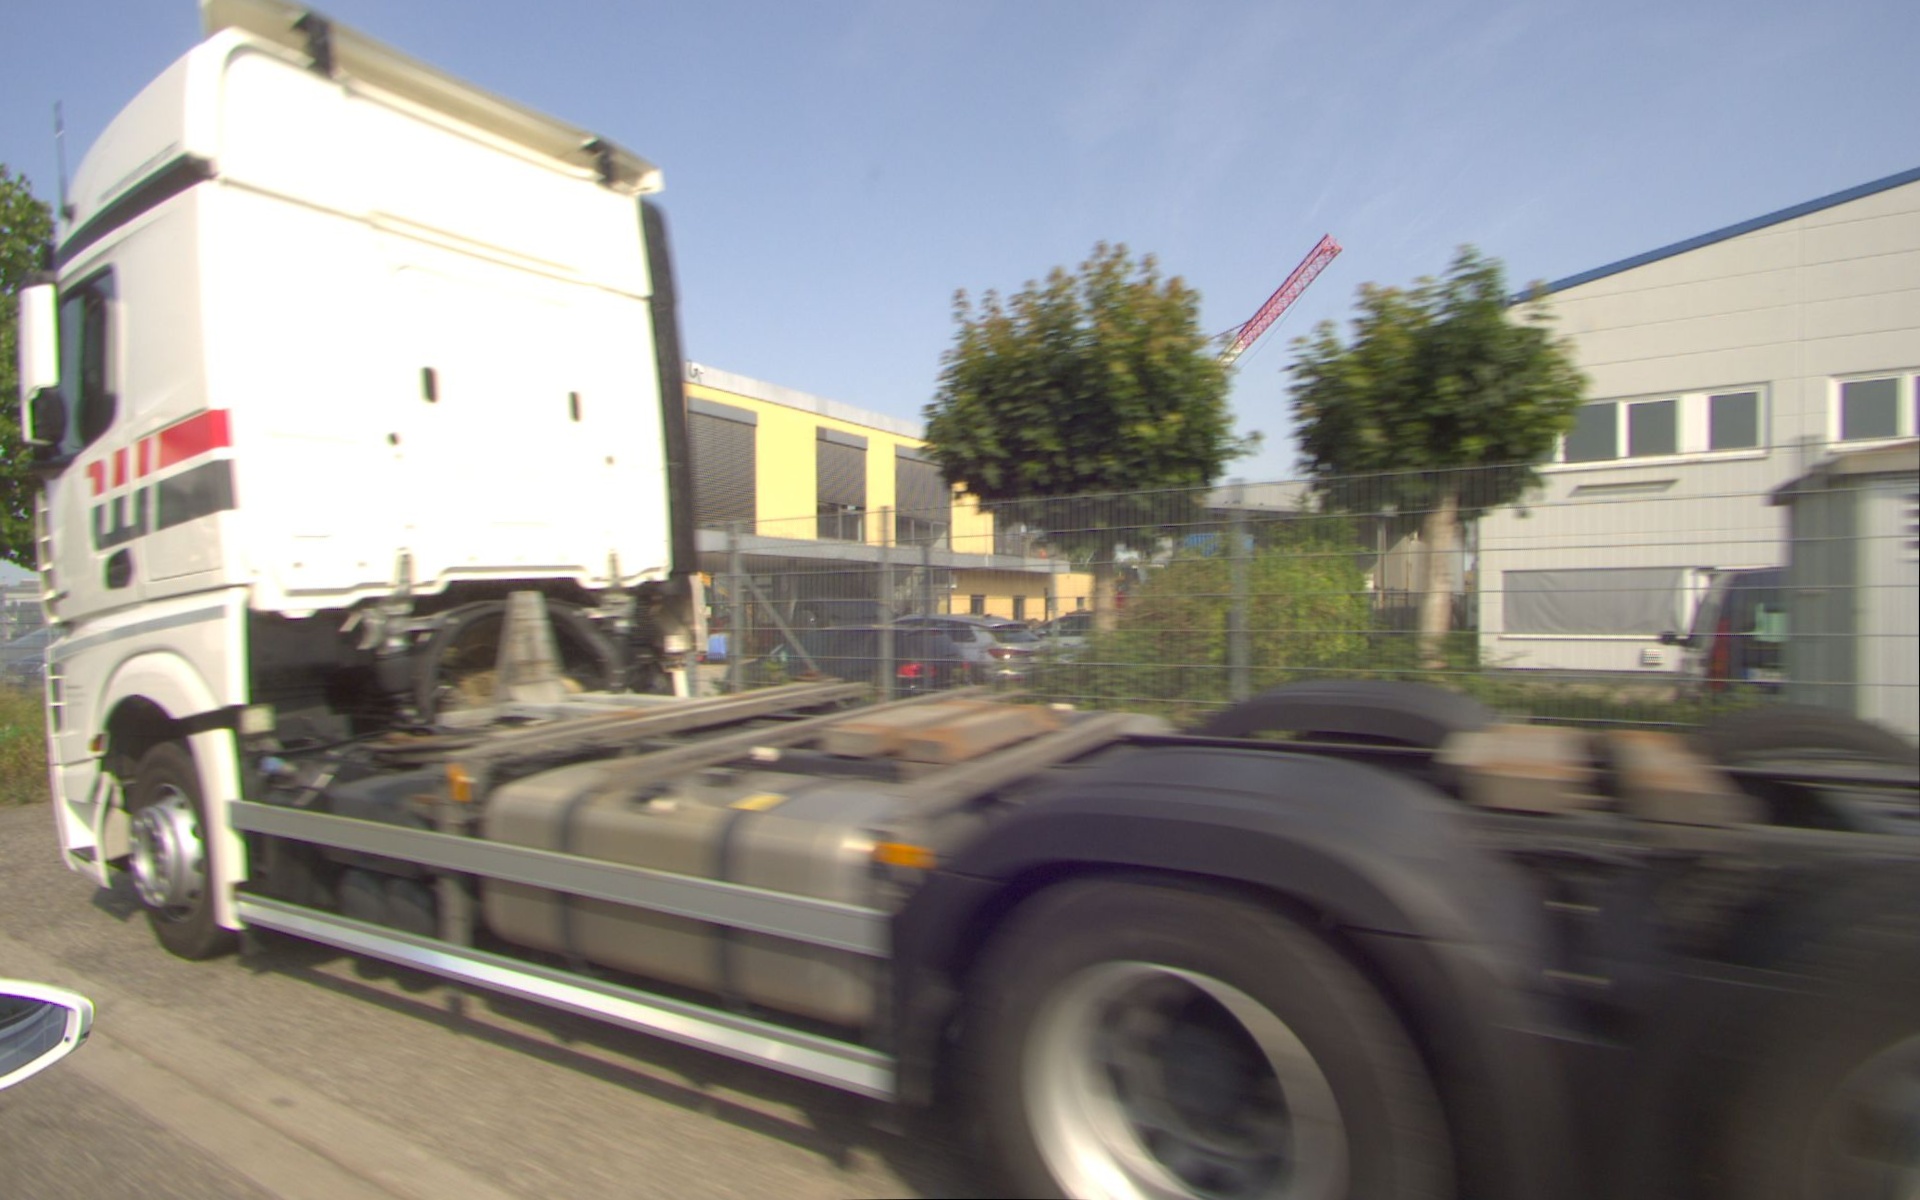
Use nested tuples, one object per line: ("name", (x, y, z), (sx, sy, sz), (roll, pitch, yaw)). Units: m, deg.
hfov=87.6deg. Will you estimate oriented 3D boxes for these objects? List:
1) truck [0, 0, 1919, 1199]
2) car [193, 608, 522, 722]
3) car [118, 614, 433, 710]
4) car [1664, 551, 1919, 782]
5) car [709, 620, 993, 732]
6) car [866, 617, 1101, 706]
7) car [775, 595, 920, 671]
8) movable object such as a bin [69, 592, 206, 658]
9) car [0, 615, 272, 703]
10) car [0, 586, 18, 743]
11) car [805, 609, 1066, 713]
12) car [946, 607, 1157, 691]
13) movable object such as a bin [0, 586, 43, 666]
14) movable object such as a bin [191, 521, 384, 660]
("truck", (-0.065, -0.613, 3.574), (9.547, 4.070, 2.739), (0, 2, 32))
("car", (-8.995, 0.933, 15.321), (1.763, 1.496, 3.986), (0, -2, 27))
("car", (-11.230, 0.986, 16.732), (1.763, 1.388, 3.986), (0, -2, 28))
("car", (8.389, 0.566, 10.043), (1.884, 1.858, 4.083), (0, -1, 31))
("car", (-1.668, 1.032, 14.908), (3.945, 1.450, 1.880), (-1, -1, 34))
("car", (0.447, 1.133, 19.849), (4.302, 1.577, 1.888), (0, -1, 28))
("car", (-3.184, 0.913, 29.152), (1.869, 2.028, 4.347), (0, -1, 33))
("movable object such as a bin", (-33.688, 1.013, 41.012), (5.264, 2.524, 2.916), (-1, 0, 33))
("car", (-16.522, 1.079, 19.997), (1.870, 1.515, 4.221), (0, 0, 29))
("car", (-13.399, 0.795, 12.104), (4.537, 1.812, 1.989), (-2, -1, 34))
("car", (-0.430, 0.944, 16.951), (4.037, 1.577, 1.888), (0, -1, 28))
("car", (2.018, 1.033, 22.276), (4.302, 1.713, 1.888), (0, 0, 28))
("movable object such as a bin", (-35.461, 0.951, 36.428), (5.088, 2.788, 1.882), (-1, 0, 33))
("movable object such as a bin", (-25.910, -0.297, 38.515), (7.560, 4.870, 3.310), (0, 0, 31))
